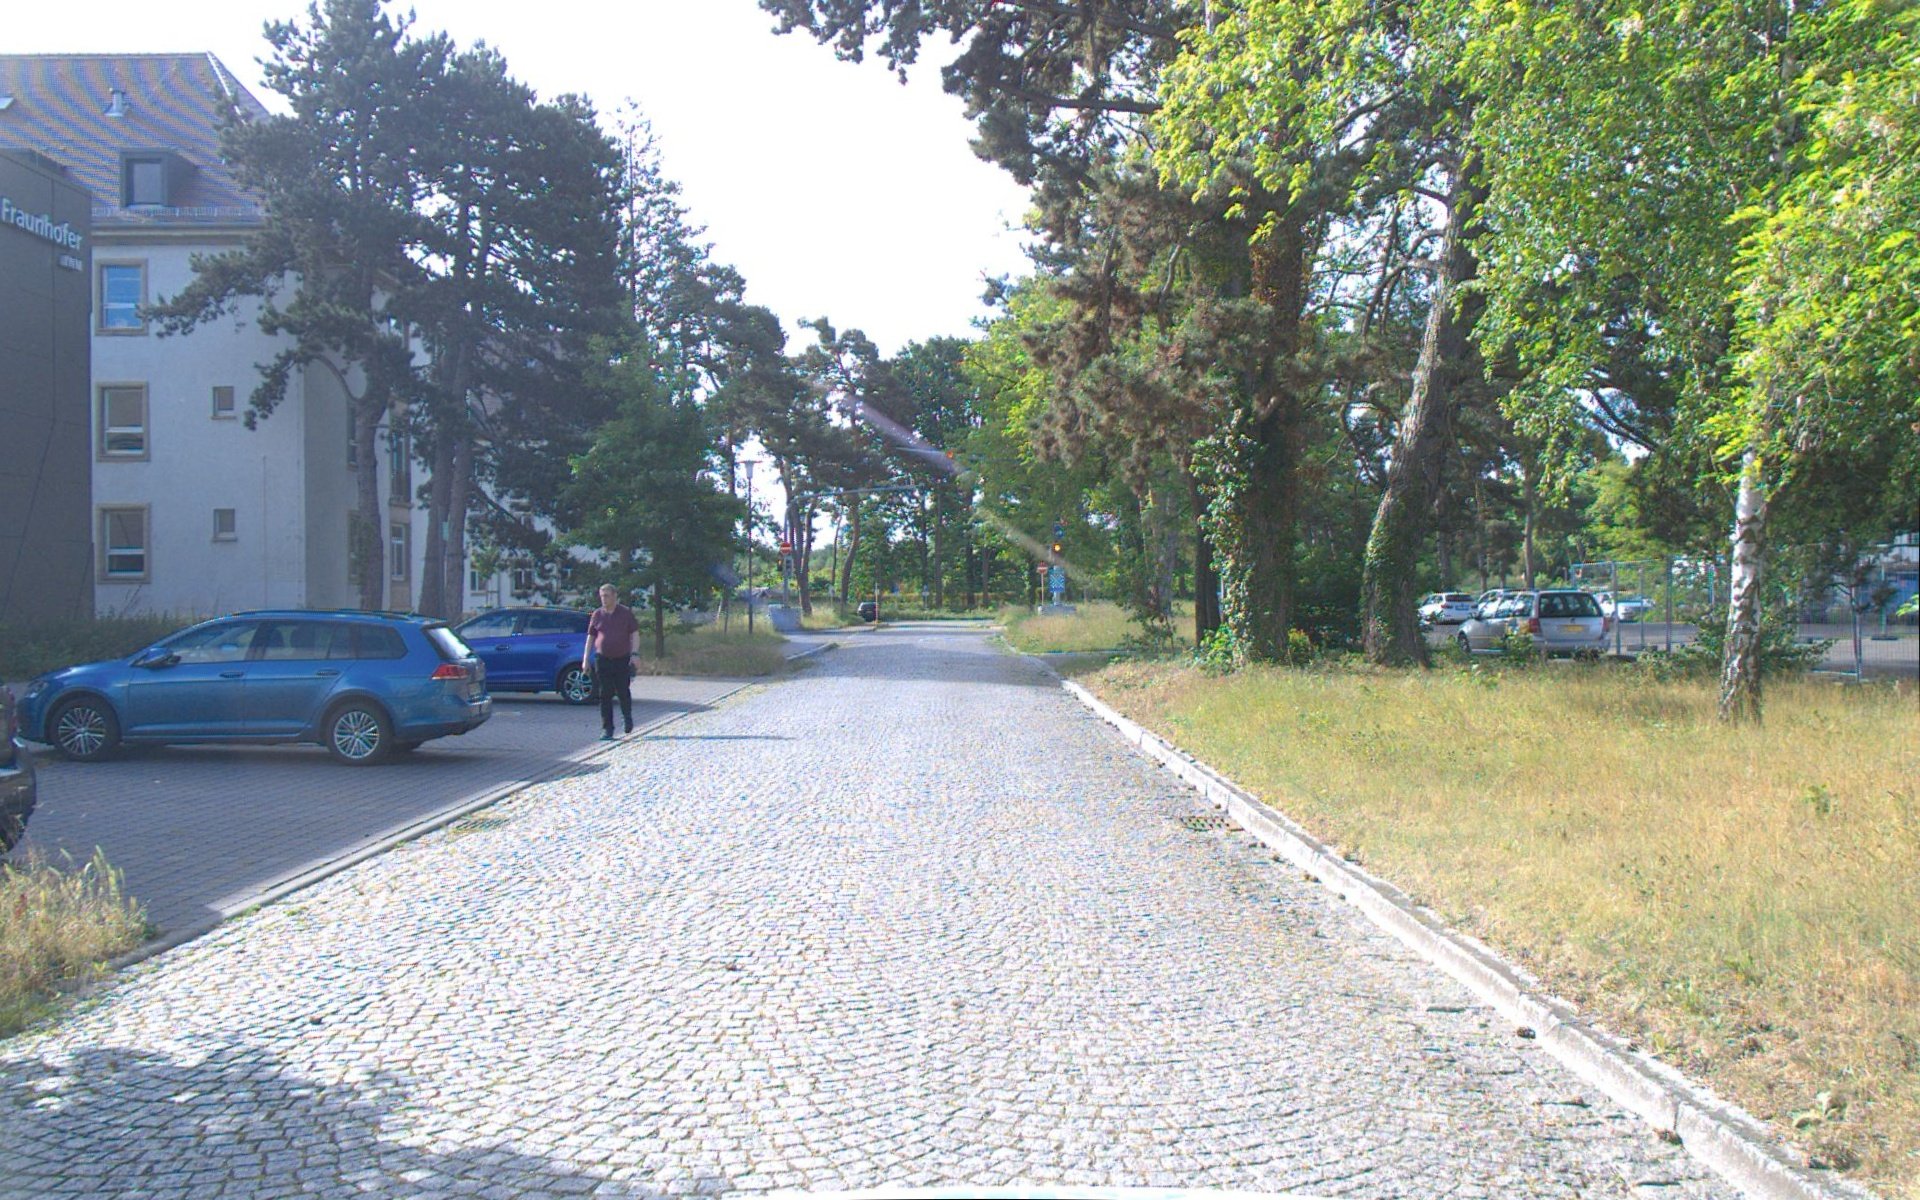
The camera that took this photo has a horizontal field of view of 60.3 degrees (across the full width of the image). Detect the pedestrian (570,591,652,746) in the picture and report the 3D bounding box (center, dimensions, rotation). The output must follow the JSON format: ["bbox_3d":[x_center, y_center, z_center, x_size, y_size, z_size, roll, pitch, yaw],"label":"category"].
[{"bbox_3d":[-4.192,0.799,19.934,0.788,1.802,1.152,-1,0,-5],"label":"pedestrian"}]

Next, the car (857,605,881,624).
[{"bbox_3d":[-7.285,1.158,132.578,1.808,1.512,3.998,-1,0,-3],"label":"car"}]

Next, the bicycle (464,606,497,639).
[{"bbox_3d":[-22.107,1.019,76.323,0.809,1.462,2.553,-1,0,-1],"label":"bicycle"}]

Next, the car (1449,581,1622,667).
[{"bbox_3d":[10.857,0.425,31.484,1.634,1.493,3.996,-1,0,-4],"label":"car"}]

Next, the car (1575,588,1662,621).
[{"bbox_3d":[27.934,0.189,70.287,1.697,1.335,4.328,-1,0,-4],"label":"car"}]

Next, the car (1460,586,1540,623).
[{"bbox_3d":[22.689,0.186,69.616,1.697,1.502,4.328,-1,0,-4],"label":"car"}]

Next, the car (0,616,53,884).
[{"bbox_3d":[-6.956,0.867,9.483,2.644,1.569,1.518,1,0,-2],"label":"car"}]

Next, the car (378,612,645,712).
[{"bbox_3d":[-7.096,0.957,26.410,3.757,1.490,1.720,1,0,0],"label":"car"}]

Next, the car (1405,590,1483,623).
[{"bbox_3d":[20.222,0.260,69.267,1.697,1.335,4.328,-1,0,-4],"label":"car"}]

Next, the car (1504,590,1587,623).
[{"bbox_3d":[24.642,0.256,69.788,1.697,1.335,4.328,-1,0,-4],"label":"car"}]

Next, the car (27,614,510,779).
[{"bbox_3d":[-6.884,0.944,16.789,4.172,1.489,1.680,1,1,-3],"label":"car"}]
